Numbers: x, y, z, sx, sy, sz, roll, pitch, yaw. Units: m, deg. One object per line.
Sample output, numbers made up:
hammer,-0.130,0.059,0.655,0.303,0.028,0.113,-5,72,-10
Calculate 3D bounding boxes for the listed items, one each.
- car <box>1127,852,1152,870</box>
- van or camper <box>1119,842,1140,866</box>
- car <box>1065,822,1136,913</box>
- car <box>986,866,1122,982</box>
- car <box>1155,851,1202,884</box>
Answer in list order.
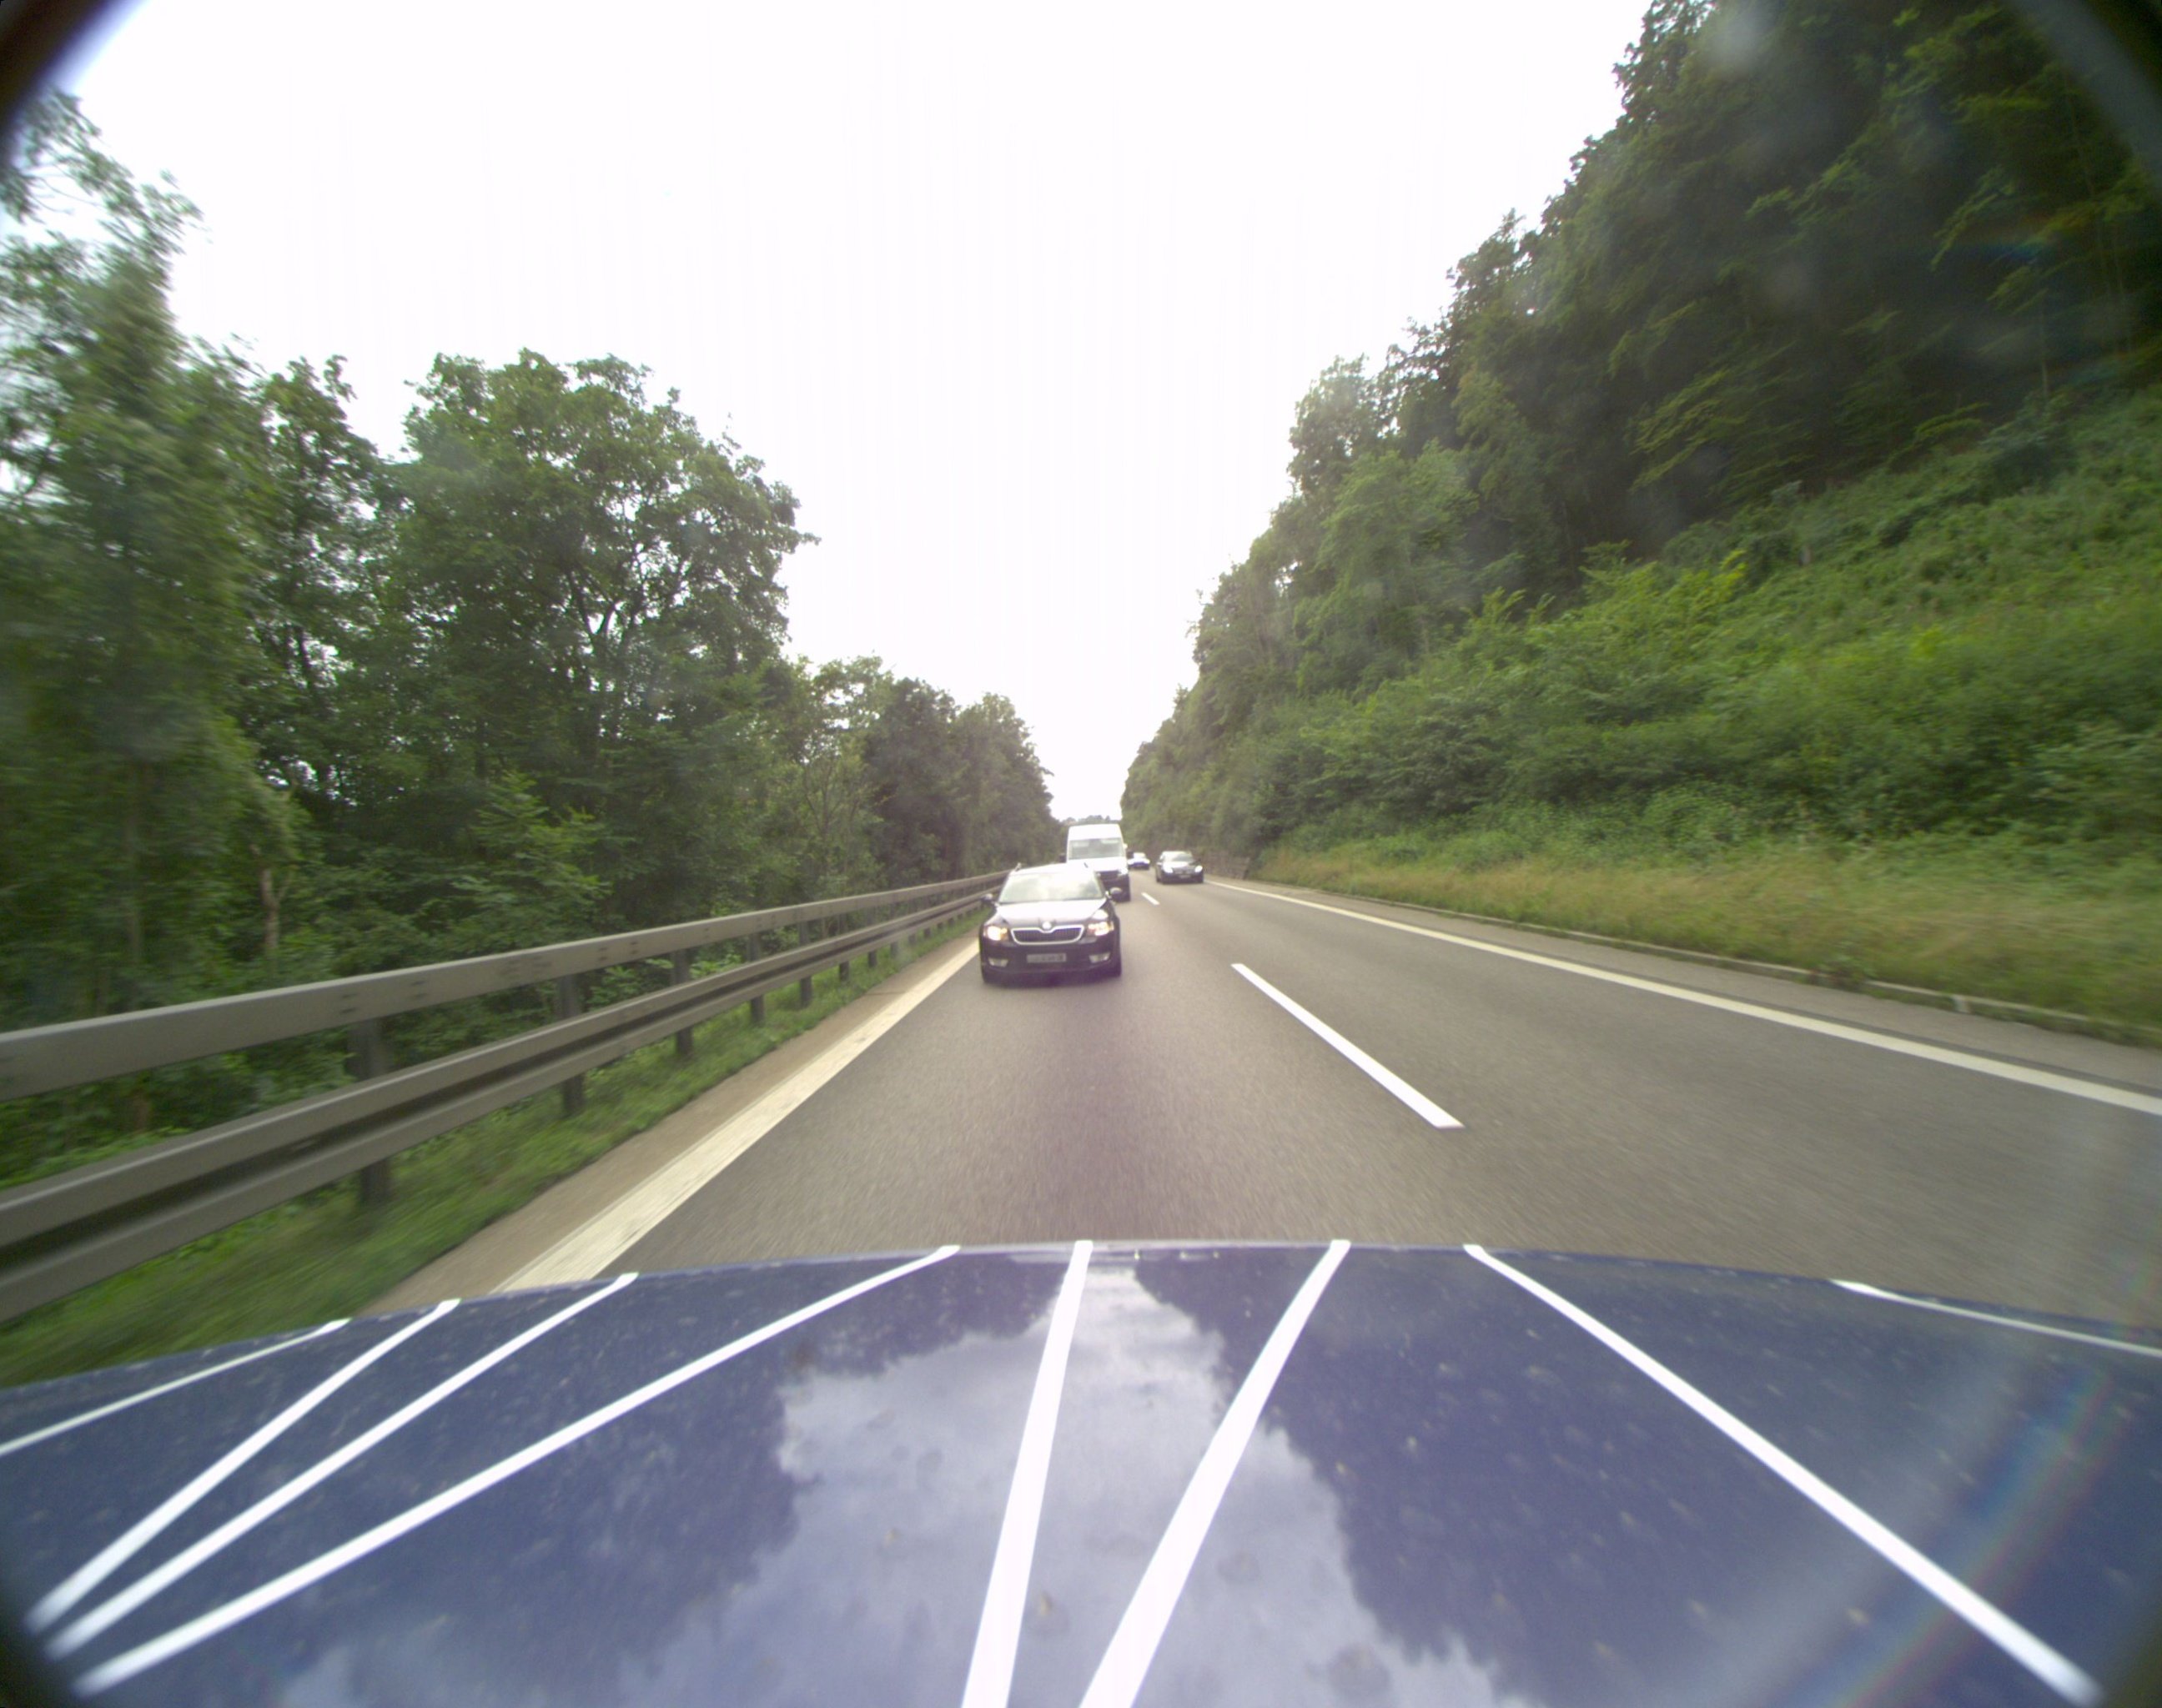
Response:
car,4.989,0.547,64.998,1.840,1.460,4.555,0,0,0
van or camper,5.683,0.030,89.607,2.270,2.719,7.024,0,0,2
car,0.589,0.367,24.028,2.001,2.545,5.127,0,0,1
car,-0.414,0.963,12.303,1.751,1.409,4.400,-2,0,-1
car,4.523,0.608,35.717,1.765,1.455,5.123,0,0,3
